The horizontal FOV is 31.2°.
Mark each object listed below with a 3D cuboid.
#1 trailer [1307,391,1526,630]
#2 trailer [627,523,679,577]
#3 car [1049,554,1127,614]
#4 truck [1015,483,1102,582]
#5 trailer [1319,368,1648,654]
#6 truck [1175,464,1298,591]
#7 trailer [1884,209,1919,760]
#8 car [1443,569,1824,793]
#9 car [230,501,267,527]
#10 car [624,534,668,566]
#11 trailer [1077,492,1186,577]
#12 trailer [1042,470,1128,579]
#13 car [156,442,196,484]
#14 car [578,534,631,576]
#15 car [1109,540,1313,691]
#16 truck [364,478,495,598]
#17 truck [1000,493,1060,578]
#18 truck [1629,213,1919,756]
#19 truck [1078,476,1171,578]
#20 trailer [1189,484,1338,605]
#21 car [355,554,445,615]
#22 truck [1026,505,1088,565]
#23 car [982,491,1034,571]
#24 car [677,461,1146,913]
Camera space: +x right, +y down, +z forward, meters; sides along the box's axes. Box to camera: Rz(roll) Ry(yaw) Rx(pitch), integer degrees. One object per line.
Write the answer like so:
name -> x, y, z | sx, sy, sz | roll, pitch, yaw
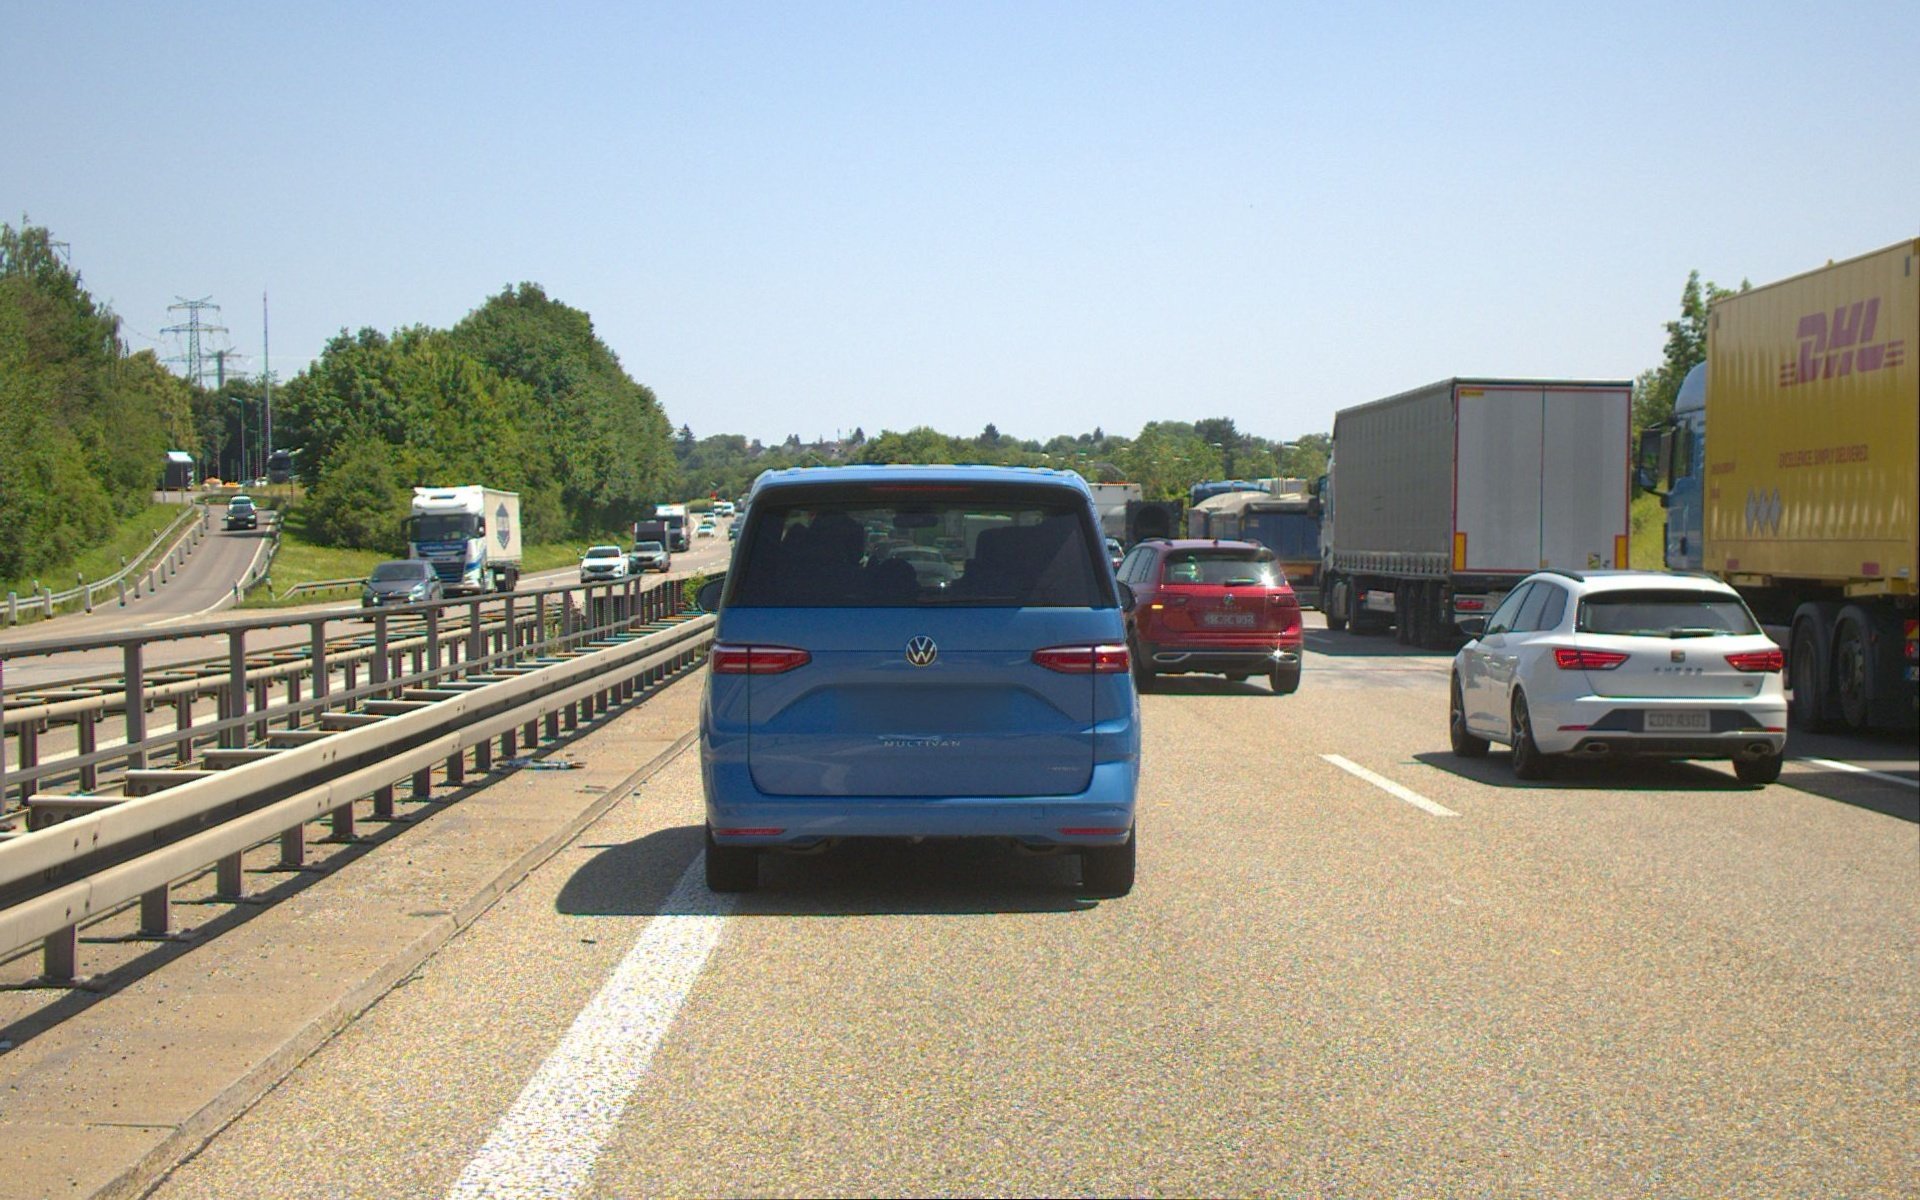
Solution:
trailer -> 8.054, -1.601, 61.408 | 2.924, 4.030, 6.411 | 0, 1, -1
trailer -> -16.674, -2.685, 186.913 | 2.166, 2.768, 5.376 | -4, 1, 0
car -> 3.333, -0.436, 89.942 | 1.781, 1.519, 4.000 | 0, 1, -1
truck -> 5.337, -3.674, 189.792 | 3.621, 5.195, 15.691 | 1, 1, -3
trailer -> 8.133, -1.402, 55.526 | 2.962, 4.035, 13.753 | 0, 1, -1
truck -> 7.474, -2.035, 93.759 | 2.743, 3.300, 7.133 | 1, 2, 0
trailer -> 8.540, -0.811, 21.759 | 2.765, 4.103, 9.377 | 1, 1, 0
car -> 4.596, 0.500, 24.027 | 1.867, 1.356, 4.000 | 1, 1, 0
car -> -45.559, -5.528, 220.297 | 1.993, 1.570, 5.276 | 1, 1, -8
car -> -16.613, -2.625, 181.993 | 1.871, 1.620, 4.629 | 1, 1, 0
trailer -> 6.546, -2.477, 134.041 | 3.646, 3.068, 15.772 | 1, 1, 1
trailer -> 6.090, -3.665, 169.562 | 3.646, 5.118, 13.076 | 1, 1, 0
car -> -58.442, -10.184, 256.255 | 2.068, 2.870, 6.734 | -1, 1, -20
car -> -14.922, -1.875, 144.400 | 1.749, 1.690, 4.385 | -2, 1, 0
car -> 2.708, 0.140, 37.905 | 1.870, 1.547, 4.000 | 1, 1, -1
truck -> -19.265, -2.247, 125.226 | 4.005, 4.214, 4.859 | -1, 1, -1
truck -> 4.136, -3.814, 206.146 | 3.068, 4.903, 10.691 | 1, 1, -1
truck -> 8.470, -0.905, 30.927 | 2.765, 4.095, 9.953 | 1, 1, -1
truck -> 6.766, -2.987, 142.510 | 3.626, 4.080, 7.524 | 1, 1, 1
trailer -> 7.542, -1.473, 86.498 | 2.743, 2.827, 9.117 | 1, 2, -1
car -> -13.949, -0.392, 85.810 | 1.652, 1.457, 3.542 | -2, 1, 0
truck -> 3.066, -2.050, 109.192 | 1.725, 1.851, 4.000 | 1, 1, -1
car -> 3.237, -4.632, 233.009 | 3.218, 5.239, 8.145 | 1, 1, -1
car -> -0.193, 0.337, 16.116 | 1.901, 1.831, 4.000 | 1, 1, 0
